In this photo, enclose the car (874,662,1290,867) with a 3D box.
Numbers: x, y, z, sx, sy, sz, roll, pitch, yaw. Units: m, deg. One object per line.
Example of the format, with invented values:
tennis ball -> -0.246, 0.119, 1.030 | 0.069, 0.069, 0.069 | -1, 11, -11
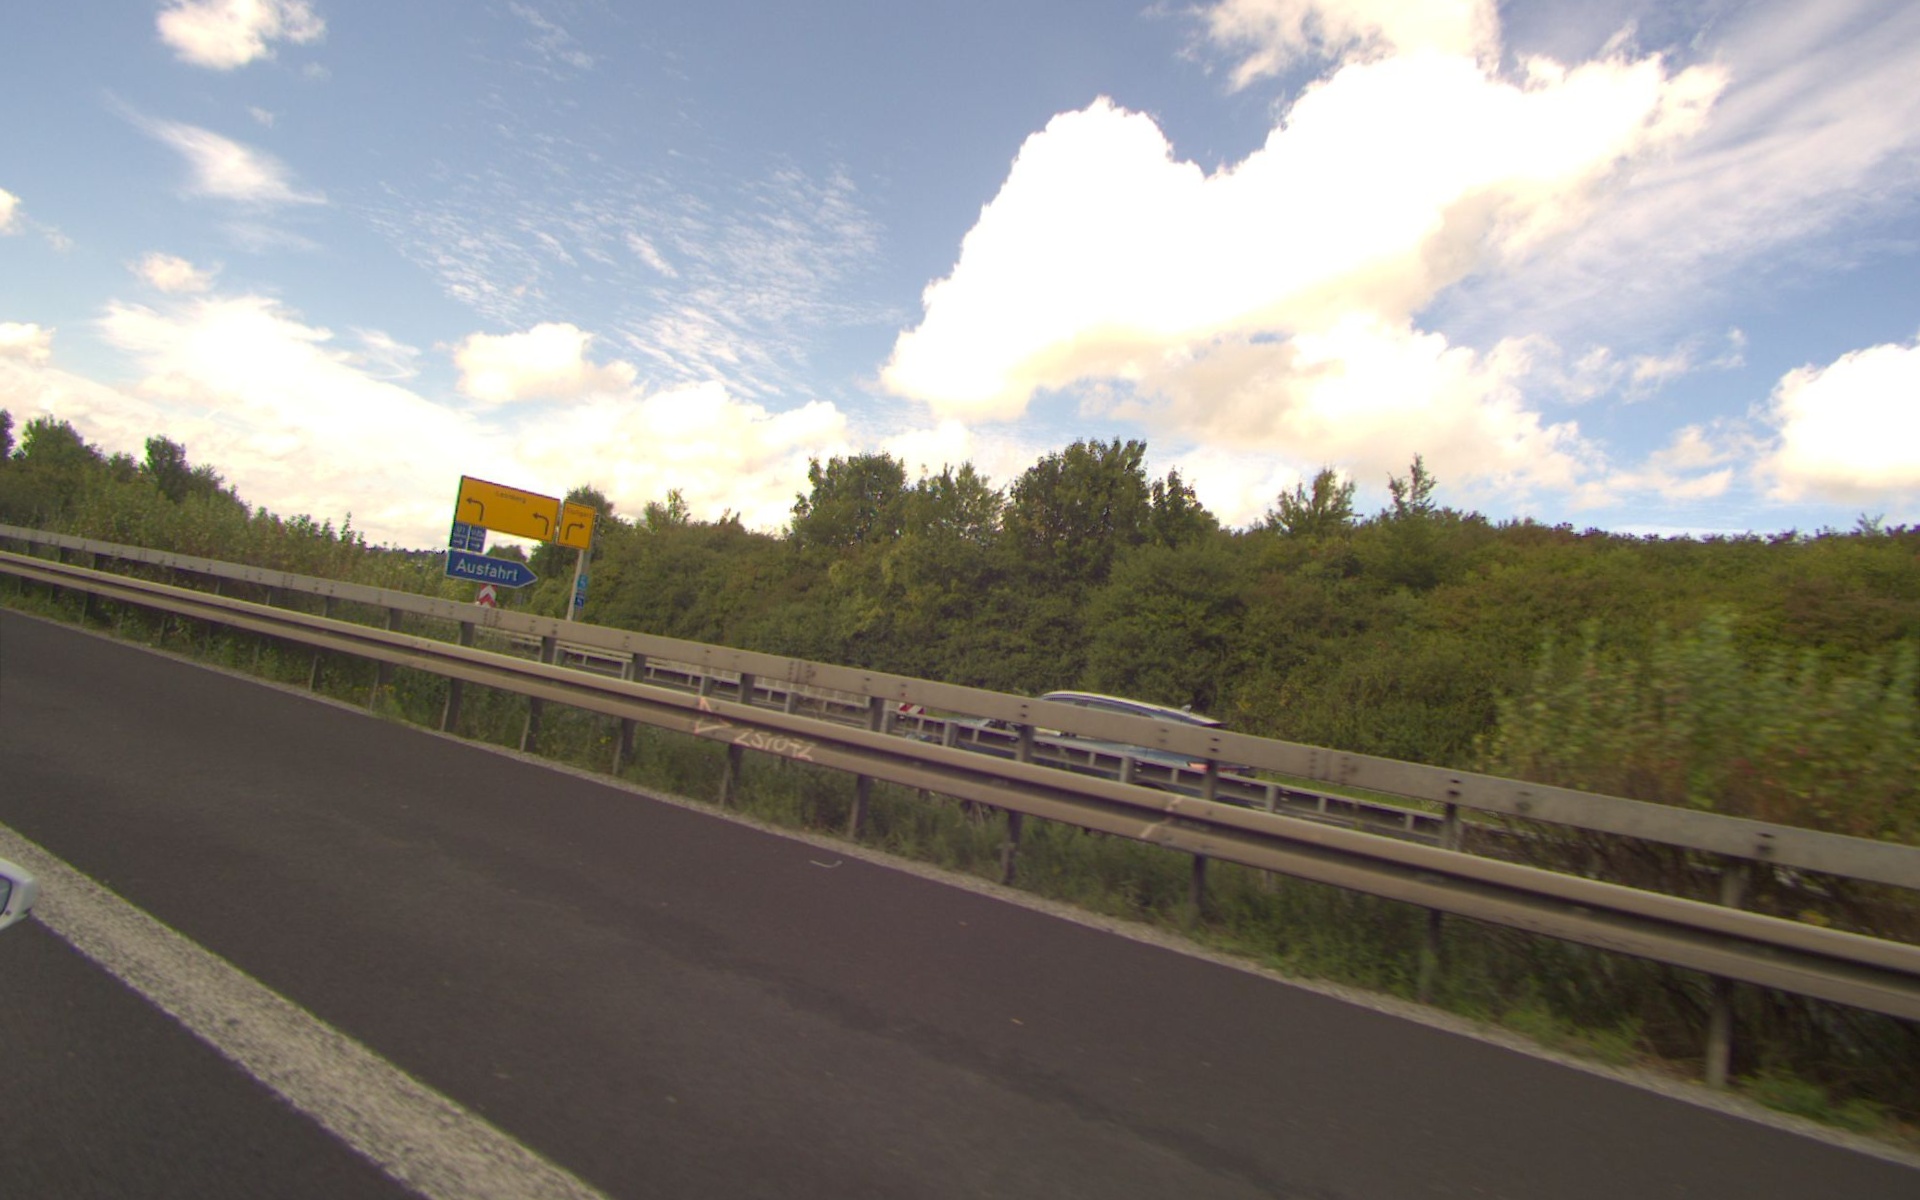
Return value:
car -> 1.419, 1.858, 12.323 | 4.597, 1.536, 1.788 | 7, -2, 30
